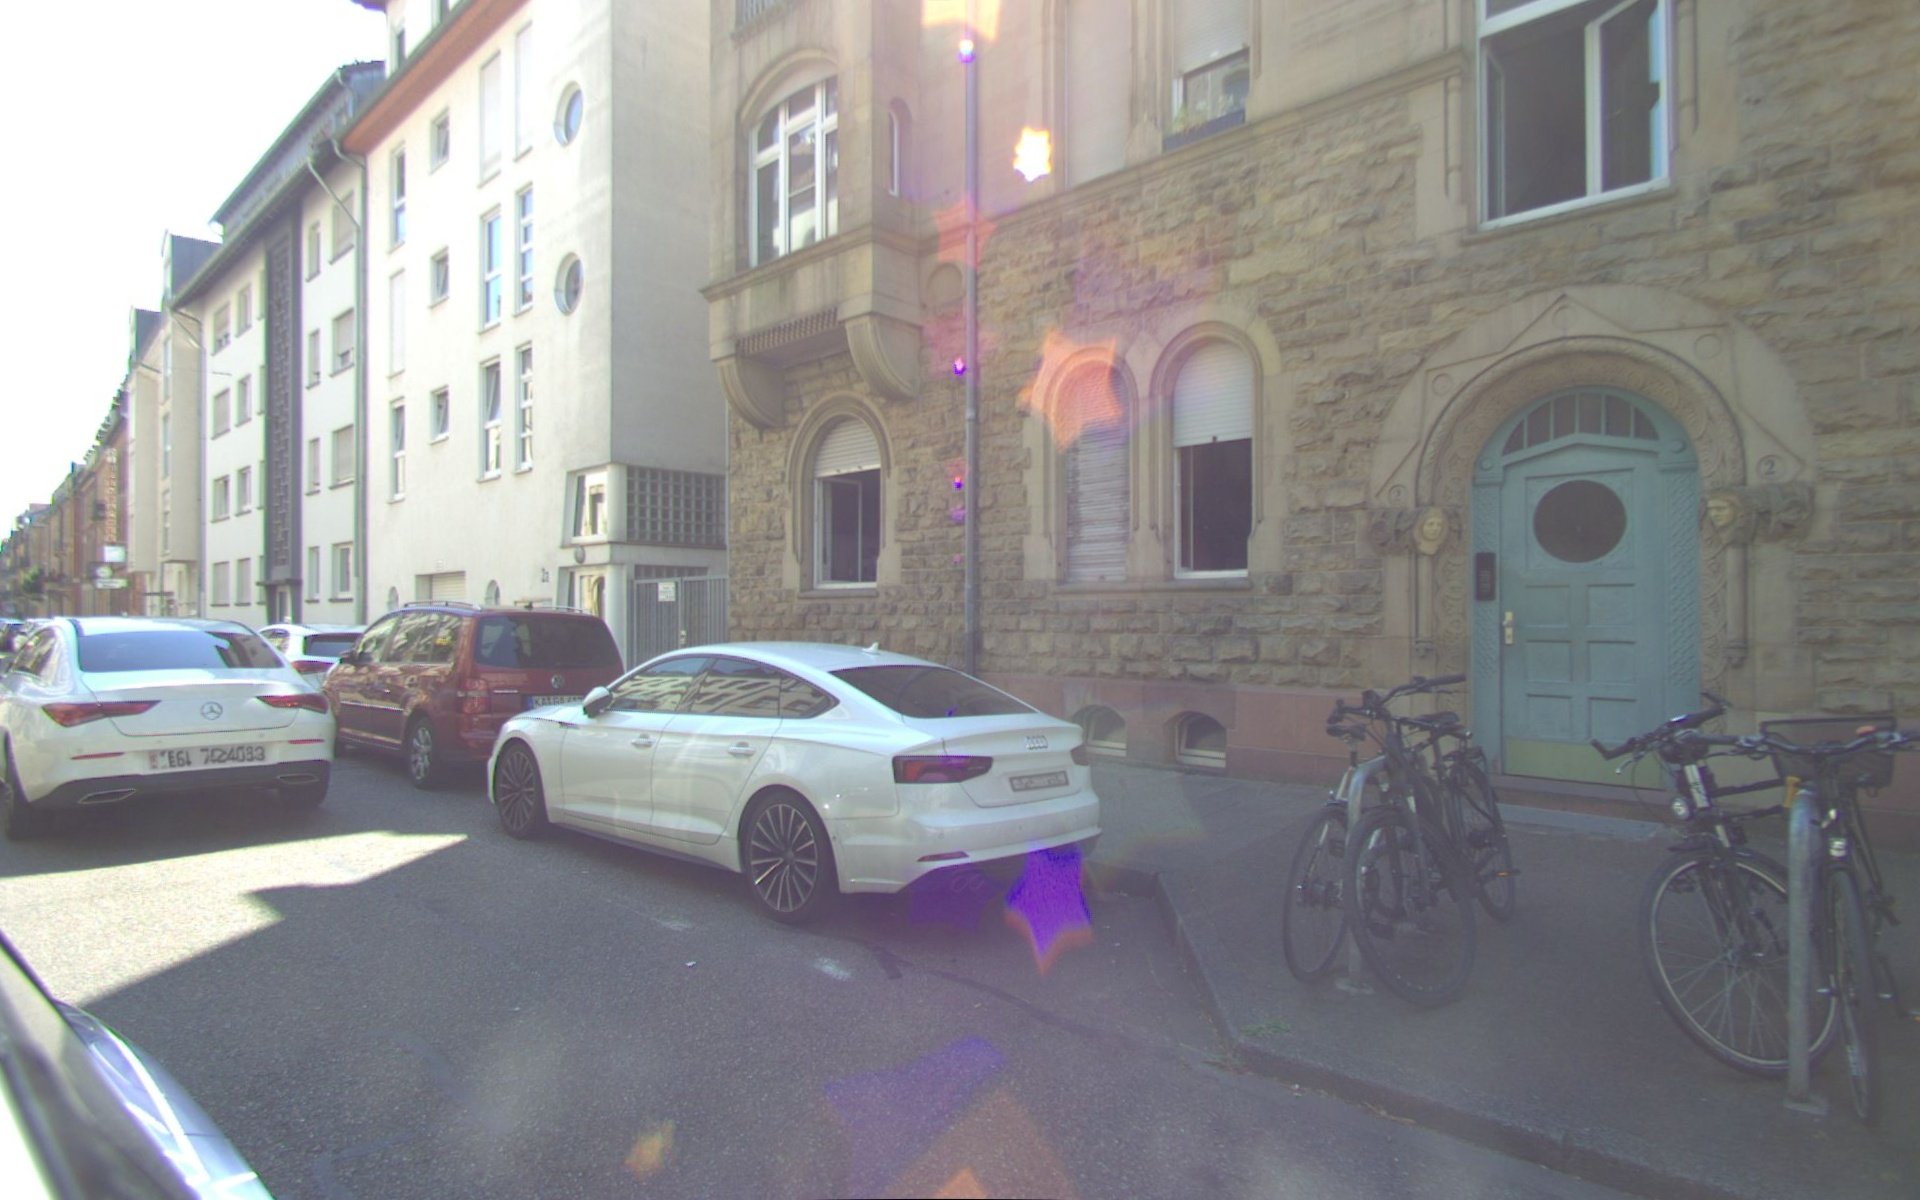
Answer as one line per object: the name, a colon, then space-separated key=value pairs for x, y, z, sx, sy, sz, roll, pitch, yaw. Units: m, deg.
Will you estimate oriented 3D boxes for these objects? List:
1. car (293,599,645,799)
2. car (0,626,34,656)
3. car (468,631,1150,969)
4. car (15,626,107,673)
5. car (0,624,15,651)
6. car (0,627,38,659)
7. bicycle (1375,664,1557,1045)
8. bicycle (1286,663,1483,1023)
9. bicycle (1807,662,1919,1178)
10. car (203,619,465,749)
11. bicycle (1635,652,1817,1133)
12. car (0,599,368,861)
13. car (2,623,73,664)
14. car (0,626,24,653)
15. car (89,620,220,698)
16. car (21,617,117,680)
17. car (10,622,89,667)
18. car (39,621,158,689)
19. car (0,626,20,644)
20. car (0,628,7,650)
car: x=-5.000 y=0.853 z=10.064 sx=4.051 sy=1.595 sz=1.655 roll=-1 pitch=-4 yaw=41
car: x=-50.243 y=2.147 z=53.540 sx=1.610 sy=1.440 sz=3.680 roll=7 pitch=-6 yaw=-44
car: x=-1.218 y=0.923 z=6.363 sx=4.512 sy=1.363 sz=1.684 roll=-1 pitch=-4 yaw=41
car: x=-29.088 y=1.573 z=32.690 sx=4.348 sy=1.404 sz=1.745 roll=-1 pitch=-4 yaw=43
car: x=-61.266 y=2.353 z=64.322 sx=3.526 sy=1.655 sz=1.430 roll=-1 pitch=-6 yaw=43
car: x=-46.580 y=2.096 z=49.646 sx=1.757 sy=1.440 sz=3.839 roll=7 pitch=-6 yaw=-44
bicycle: x=2.060 y=0.869 z=4.017 sx=0.292 sy=1.108 sz=1.686 roll=-1 pitch=0 yaw=38
bicycle: x=1.813 y=0.872 z=4.194 sx=0.292 sy=1.108 sz=1.686 roll=-1 pitch=0 yaw=38
bicycle: x=3.007 y=0.832 z=3.204 sx=0.435 sy=1.138 sz=1.976 roll=-1 pitch=0 yaw=38
car: x=-8.475 y=1.021 z=13.553 sx=4.277 sy=1.471 sz=1.758 roll=-1 pitch=-4 yaw=41
bicycle: x=2.760 y=0.839 z=3.622 sx=0.394 sy=1.138 sz=1.953 roll=-1 pitch=2 yaw=38
car: x=-6.372 y=0.804 z=7.863 sx=4.362 sy=1.472 sz=1.821 roll=-1 pitch=-4 yaw=43
car: x=-38.705 y=1.827 z=42.440 sx=3.851 sy=1.561 sz=1.612 roll=-1 pitch=-5 yaw=40
car: x=-56.788 y=2.315 z=60.033 sx=3.525 sy=1.484 sz=1.431 roll=-1 pitch=-6 yaw=42
car: x=-17.227 y=1.210 z=21.580 sx=3.894 sy=1.503 sz=1.550 roll=-1 pitch=-4 yaw=43
car: x=-25.390 y=1.348 z=28.789 sx=3.977 sy=1.657 sz=1.586 roll=-1 pitch=-4 yaw=43
car: x=-33.747 y=1.628 z=37.467 sx=4.348 sy=1.506 sz=1.711 roll=-1 pitch=-4 yaw=43
car: x=-21.360 y=1.313 z=25.019 sx=4.671 sy=1.530 sz=1.638 roll=-1 pitch=-4 yaw=43
car: x=-76.678 y=2.747 z=79.602 sx=1.679 sy=1.441 sz=3.941 roll=-1 pitch=-2 yaw=45
car: x=-64.878 y=2.545 z=67.683 sx=3.527 sy=1.410 sz=1.430 roll=-1 pitch=-6 yaw=44
